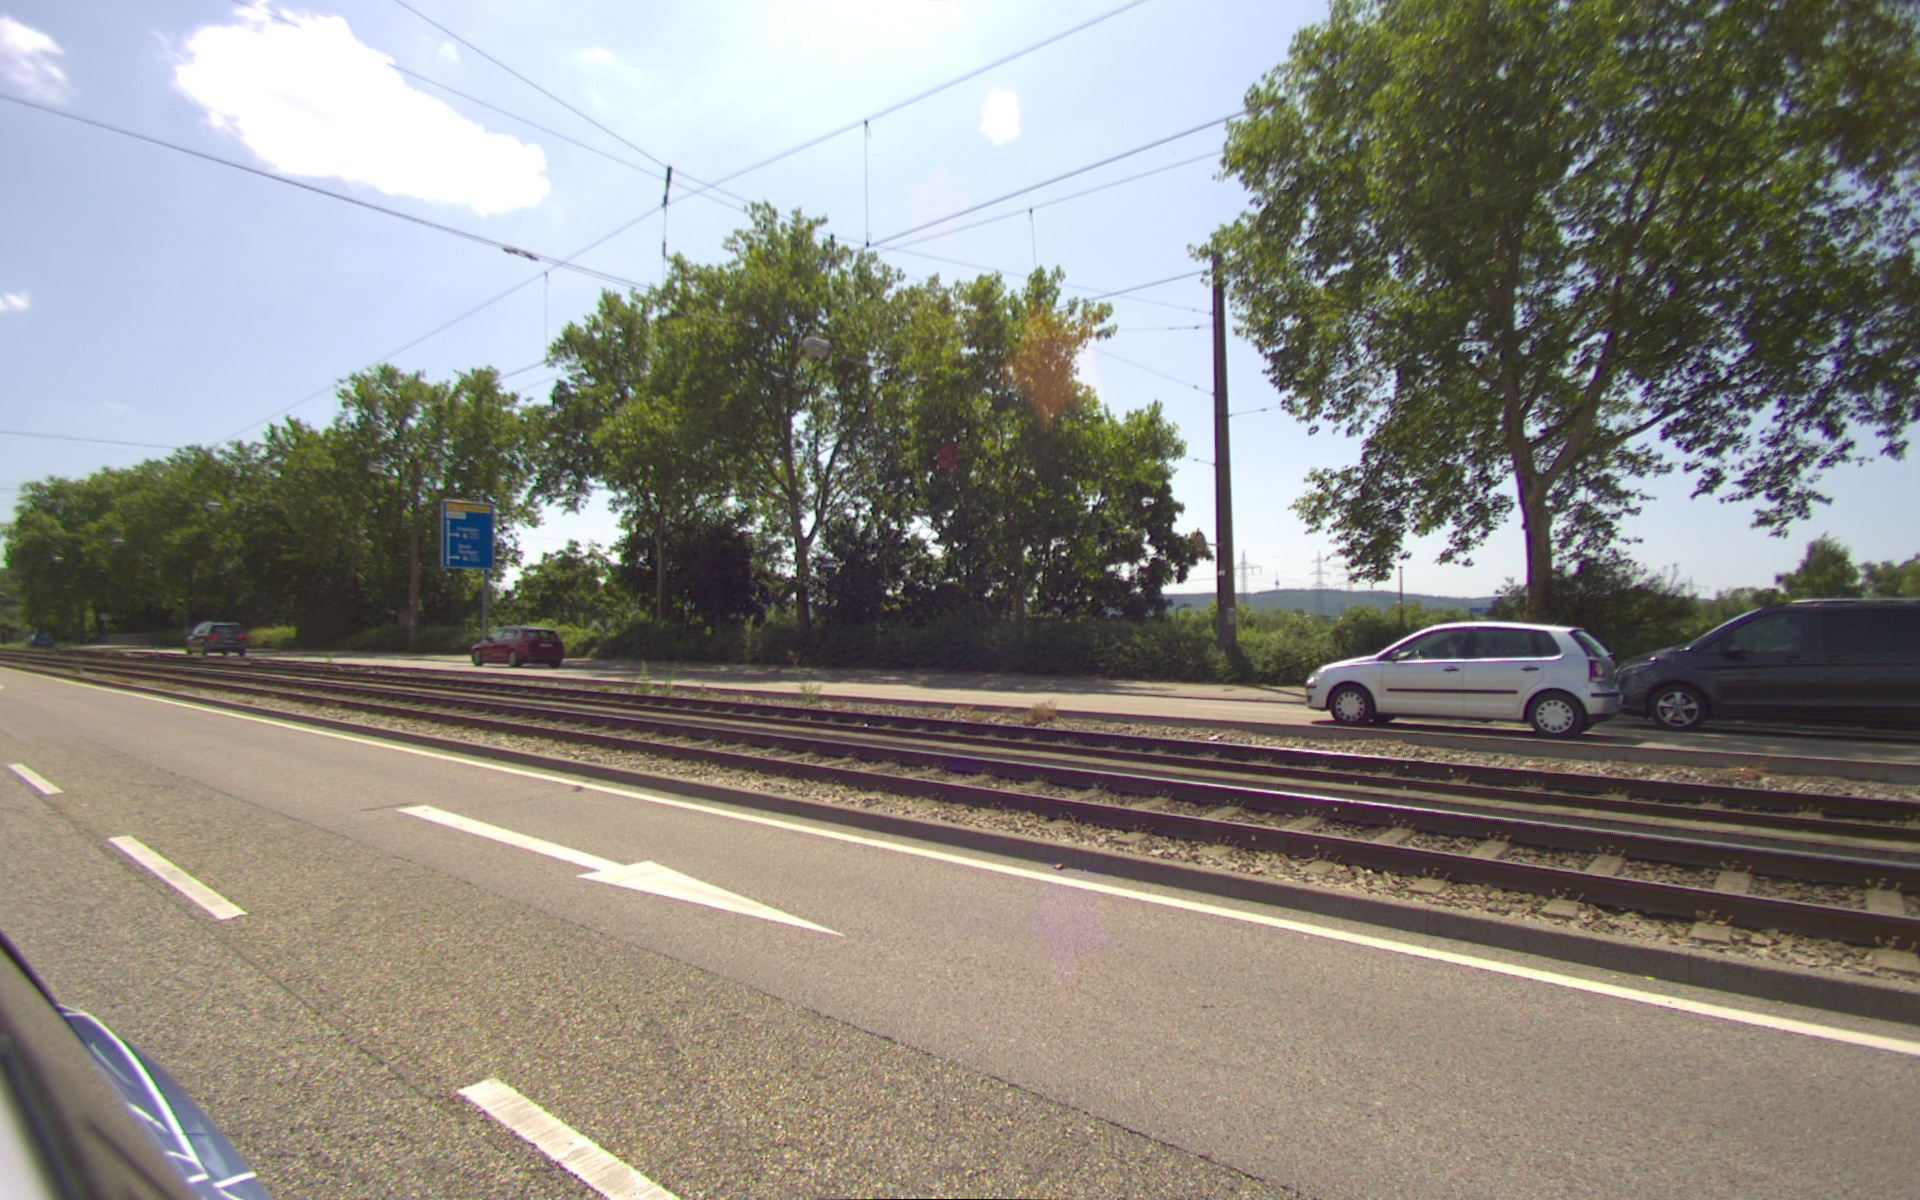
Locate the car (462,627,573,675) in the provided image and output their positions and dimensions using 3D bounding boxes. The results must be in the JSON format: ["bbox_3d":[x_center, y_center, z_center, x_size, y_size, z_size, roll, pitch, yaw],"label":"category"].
[{"bbox_3d":[-16.539,1.891,37.745,4.464,1.683,1.973,-2,-4,40],"label":"car"}]

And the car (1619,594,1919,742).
[{"bbox_3d":[12.116,0.915,13.859,4.965,1.845,1.973,-2,-4,40],"label":"car"}]

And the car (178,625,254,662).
[{"bbox_3d":[-38.745,2.283,52.638,4.965,1.845,1.973,-2,-4,40],"label":"car"}]

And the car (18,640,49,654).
[{"bbox_3d":[-99.533,5.045,108.717,4.731,1.515,1.780,-2,-4,40],"label":"car"}]

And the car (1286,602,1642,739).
[{"bbox_3d":[6.712,0.921,13.728,4.055,1.596,1.668,-2,-5,40],"label":"car"}]
